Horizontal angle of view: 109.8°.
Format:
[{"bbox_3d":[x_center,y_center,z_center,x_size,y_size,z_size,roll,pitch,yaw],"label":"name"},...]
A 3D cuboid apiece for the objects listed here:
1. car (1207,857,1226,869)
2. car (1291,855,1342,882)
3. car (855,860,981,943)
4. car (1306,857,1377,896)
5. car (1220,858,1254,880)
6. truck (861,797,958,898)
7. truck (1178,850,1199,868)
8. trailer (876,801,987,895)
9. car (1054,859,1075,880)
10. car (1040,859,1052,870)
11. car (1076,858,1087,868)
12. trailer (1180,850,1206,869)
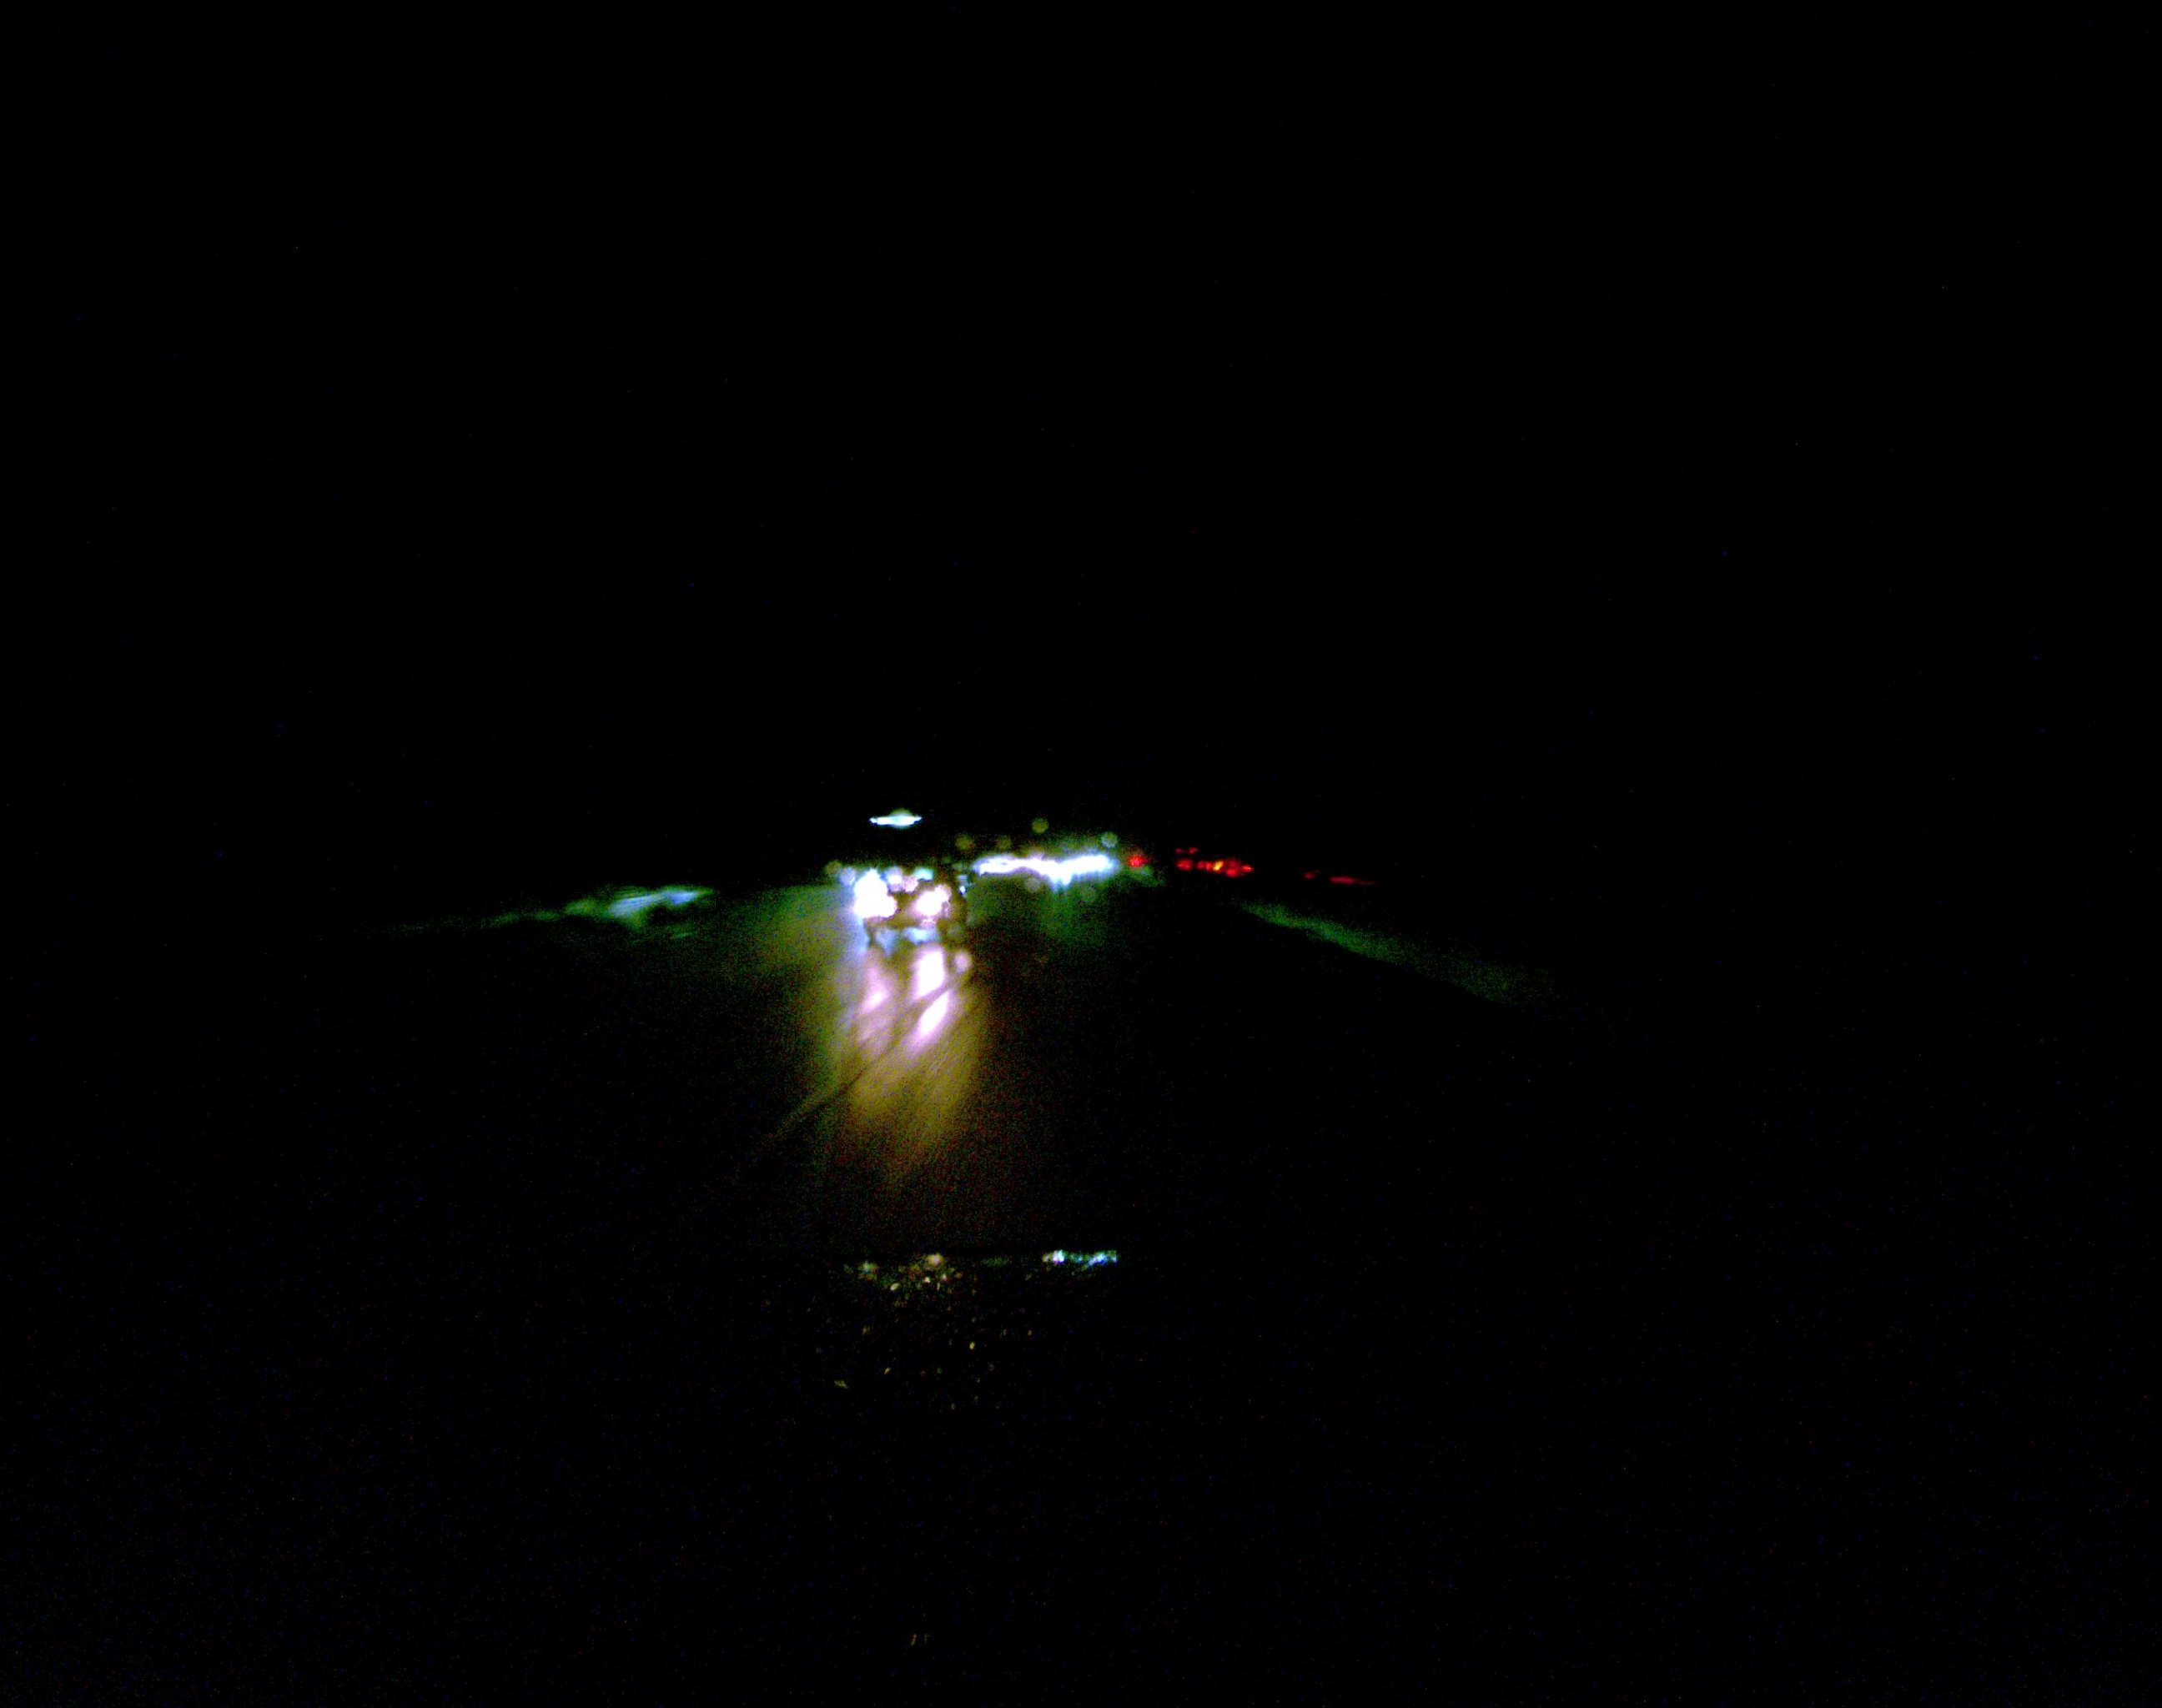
[{"bbox_3d":[18.880,1.228,105.970,1.921,1.674,4.506,0,1,2],"label":"car"},{"bbox_3d":[17.384,1.088,56.402,1.999,1.804,5.094,-2,-1,-2],"label":"car"},{"bbox_3d":[-3.511,0.960,17.229,1.745,1.566,4.494,-1,0,1],"label":"car"},{"bbox_3d":[12.866,1.091,37.732,1.999,1.750,4.000,-2,-1,-2],"label":"car"},{"bbox_3d":[13.931,1.349,68.044,1.998,1.750,4.655,-2,-1,0],"label":"car"},{"bbox_3d":[-7.424,-0.248,33.766,2.910,4.084,6.031,0,0,0],"label":"truck"},{"bbox_3d":[20.213,1.007,143.136,3.082,3.276,8.345,0,0,2],"label":"truck"},{"bbox_3d":[-7.373,-0.198,40.156,2.910,4.084,14.488,0,-1,0],"label":"trailer"},{"bbox_3d":[-1.665,1.588,77.375,1.999,2.001,4.000,-2,-1,-2],"label":"car"},{"bbox_3d":[-5.119,1.539,112.532,1.644,1.494,4.013,-1,-1,-1],"label":"car"},{"bbox_3d":[0.120,1.613,133.208,1.883,1.653,4.001,-3,-2,0],"label":"car"},{"bbox_3d":[19.997,0.962,135.944,3.082,3.276,13.158,0,-1,2],"label":"trailer"}]
